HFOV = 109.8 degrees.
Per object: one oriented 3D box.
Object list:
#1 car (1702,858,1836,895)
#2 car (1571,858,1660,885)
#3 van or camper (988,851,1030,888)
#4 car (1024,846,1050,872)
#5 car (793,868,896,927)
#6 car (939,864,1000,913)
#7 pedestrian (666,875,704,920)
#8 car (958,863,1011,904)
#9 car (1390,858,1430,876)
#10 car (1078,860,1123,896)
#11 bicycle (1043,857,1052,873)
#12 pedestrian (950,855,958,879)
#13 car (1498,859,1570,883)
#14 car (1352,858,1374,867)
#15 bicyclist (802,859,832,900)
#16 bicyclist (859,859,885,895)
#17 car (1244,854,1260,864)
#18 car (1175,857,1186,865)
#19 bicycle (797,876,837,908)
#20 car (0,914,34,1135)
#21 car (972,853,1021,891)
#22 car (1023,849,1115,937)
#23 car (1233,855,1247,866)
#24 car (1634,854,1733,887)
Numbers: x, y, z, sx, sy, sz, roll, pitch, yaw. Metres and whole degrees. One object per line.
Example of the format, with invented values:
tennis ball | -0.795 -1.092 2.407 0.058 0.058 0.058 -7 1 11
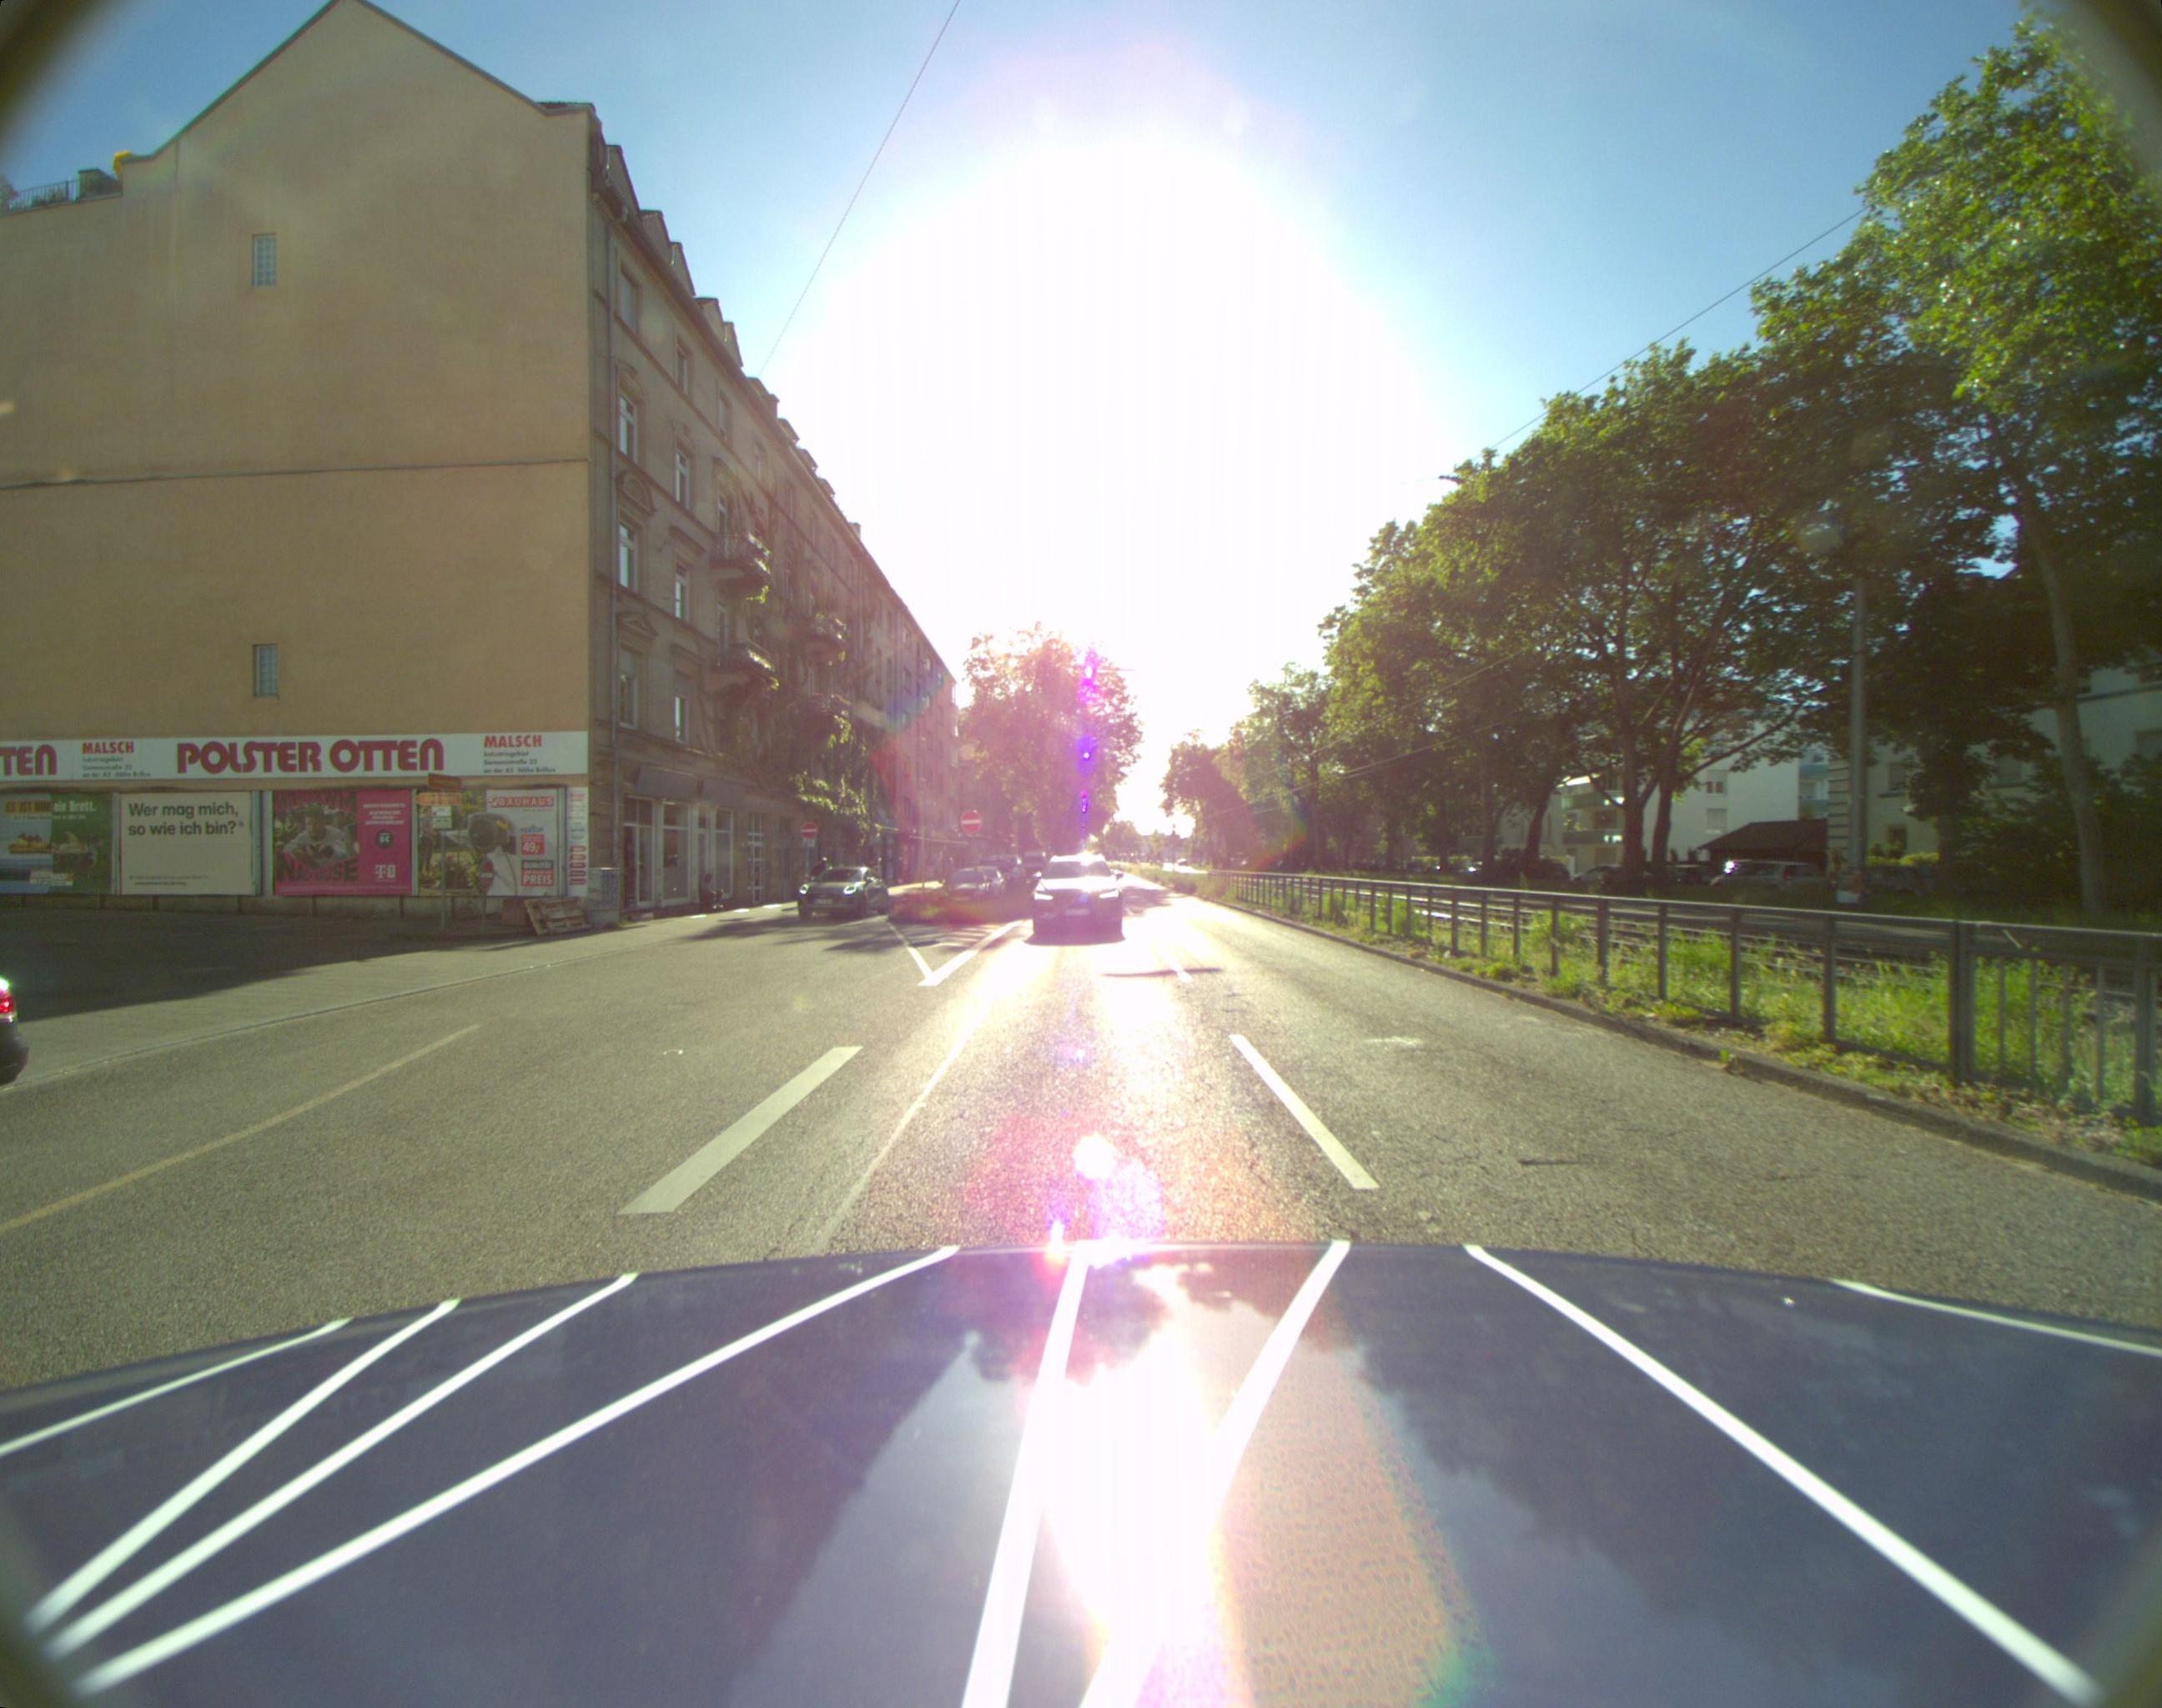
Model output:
car | 28.423 0.893 31.598 1.739 1.432 4.319 0 0 1
car | 28.553 0.916 40.783 1.644 1.316 4.461 2 0 1
van or camper | -4.005 0.826 43.003 1.888 2.002 5.094 0 0 0
car | -4.364 0.479 76.010 2.079 2.420 5.856 -1 0 1
car | -7.071 1.232 23.172 1.702 1.519 4.380 -1 0 0
car | -4.005 1.198 27.798 1.645 1.508 3.999 -3 0 -1
pedestrian | -11.423 1.240 21.924 0.717 1.253 0.713 1 0 1
car | -4.024 1.186 32.249 1.743 1.508 3.999 -3 0 -1
car | 28.690 1.121 66.329 1.801 1.464 4.000 0 0 1
car | 0.798 0.983 32.910 1.608 1.445 3.780 0 0 -3
bicycle | -2.568 0.813 57.586 0.466 1.206 1.751 0 0 4
pedestrian | -9.706 0.990 57.970 0.470 1.822 0.516 0 0 1
car | 28.297 1.034 47.654 1.998 1.444 4.319 0 0 1
car | 28.307 0.807 76.355 1.109 0.871 3.060 0 0 1
bicyclist | -9.833 0.939 28.324 0.746 1.453 0.951 -1 1 2
bicyclist | -8.827 0.970 32.067 0.678 1.437 1.182 4 0 1
car | 28.171 0.814 125.203 1.771 1.477 3.688 0 0 1
car | 21.466 1.470 164.354 1.862 1.637 4.460 0 0 -1
bicycle | -9.825 1.410 28.362 0.758 1.095 1.954 0 0 2
car | -8.258 1.121 2.919 1.837 1.478 4.734 2 0 1
car | -4.112 0.852 37.477 1.869 1.753 4.000 0 0 1
car | -0.184 0.809 17.862 1.876 1.788 4.633 0 0 1
car | 28.256 1.124 134.952 1.998 2.002 4.002 0 0 5
car | 28.425 0.743 35.988 1.779 1.456 3.697 0 0 1
